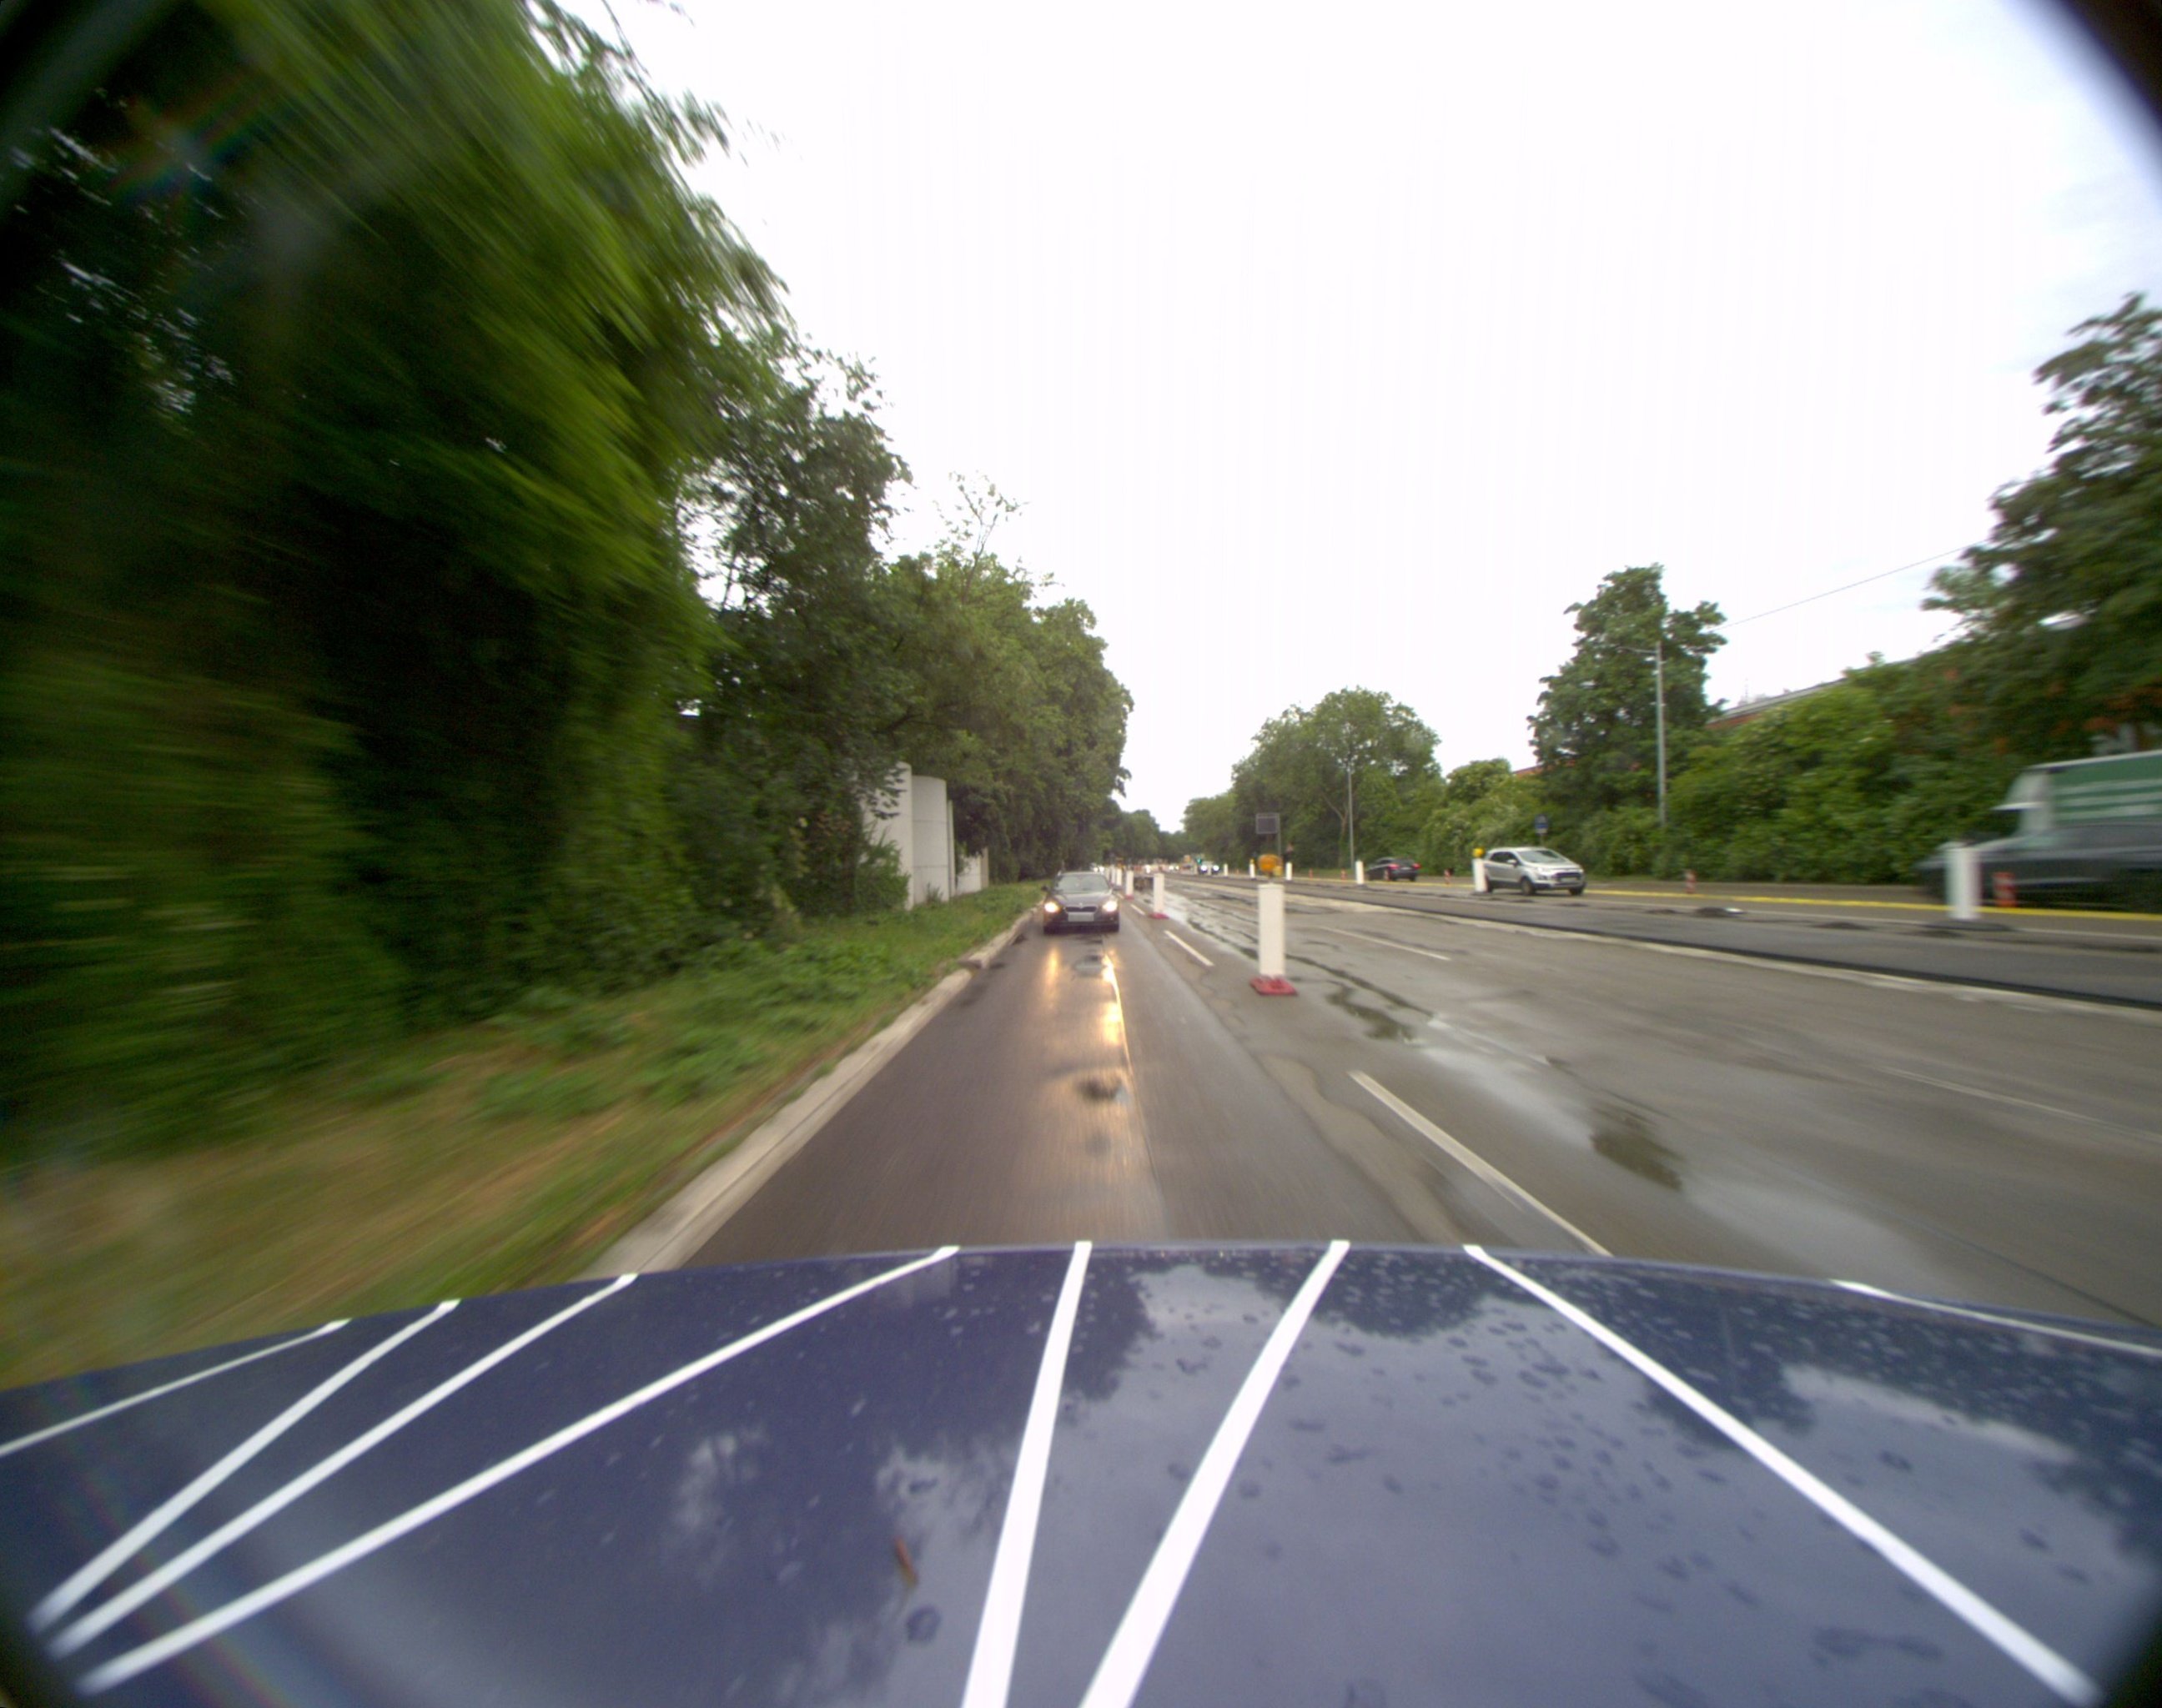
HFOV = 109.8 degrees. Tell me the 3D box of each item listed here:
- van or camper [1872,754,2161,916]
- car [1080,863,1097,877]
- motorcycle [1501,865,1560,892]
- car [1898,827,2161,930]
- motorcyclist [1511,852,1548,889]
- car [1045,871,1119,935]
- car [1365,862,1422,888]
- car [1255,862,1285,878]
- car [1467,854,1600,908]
[{"bbox_3d":[21.430,-0.366,15.699,2.303,3.044,7.453,-2,-1,0],"label":"van or camper"},{"bbox_3d":[1.050,2.061,98.654,1.998,1.706,4.001,-1,-1,3],"label":"car"},{"bbox_3d":[18.139,0.979,30.765,0.810,0.983,2.594,-4,-1,1],"label":"motorcycle"},{"bbox_3d":[18.605,0.404,13.958,1.998,1.683,4.808,-1,-1,1],"label":"car"},{"bbox_3d":[18.127,0.659,30.726,0.816,1.402,0.975,-4,-1,0],"label":"motorcyclist"},{"bbox_3d":[0.046,1.153,19.075,1.658,1.408,4.130,0,-1,1],"label":"car"},{"bbox_3d":[18.590,1.233,45.360,1.691,1.433,4.108,-3,-1,1],"label":"car"},{"bbox_3d":[19.202,1.631,77.325,1.893,1.542,4.399,-4,-1,0],"label":"car"},{"bbox_3d":[15.095,0.892,25.662,1.893,1.554,4.365,-3,-1,1],"label":"car"}]
